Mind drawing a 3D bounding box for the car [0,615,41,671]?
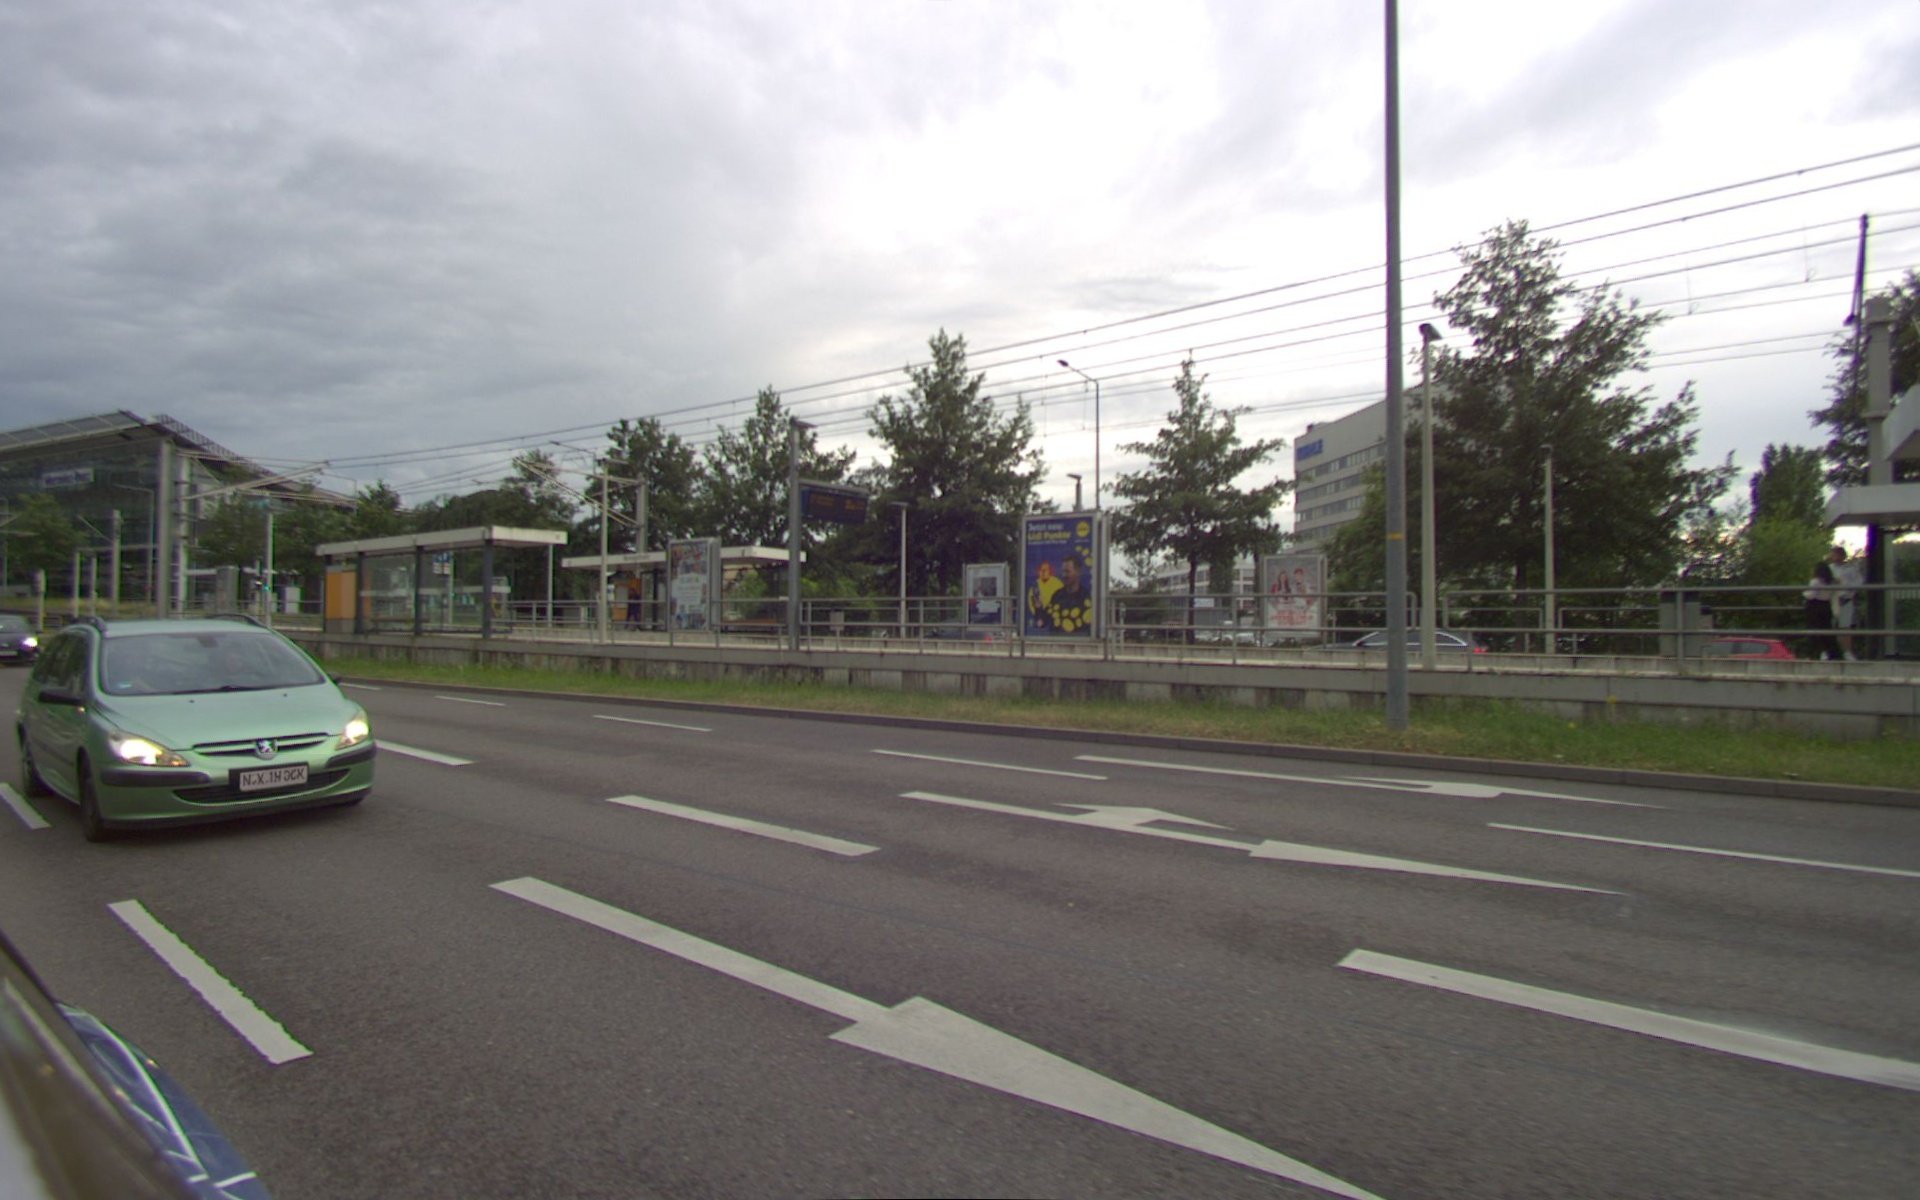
[{"bbox_3d":[-28.761,1.254,30.169,3.904,1.534,1.674,0,0,43],"label":"car"}]

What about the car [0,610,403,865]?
[{"bbox_3d":[-6.234,0.839,8.103,4.401,1.479,1.677,0,0,41],"label":"car"}]
